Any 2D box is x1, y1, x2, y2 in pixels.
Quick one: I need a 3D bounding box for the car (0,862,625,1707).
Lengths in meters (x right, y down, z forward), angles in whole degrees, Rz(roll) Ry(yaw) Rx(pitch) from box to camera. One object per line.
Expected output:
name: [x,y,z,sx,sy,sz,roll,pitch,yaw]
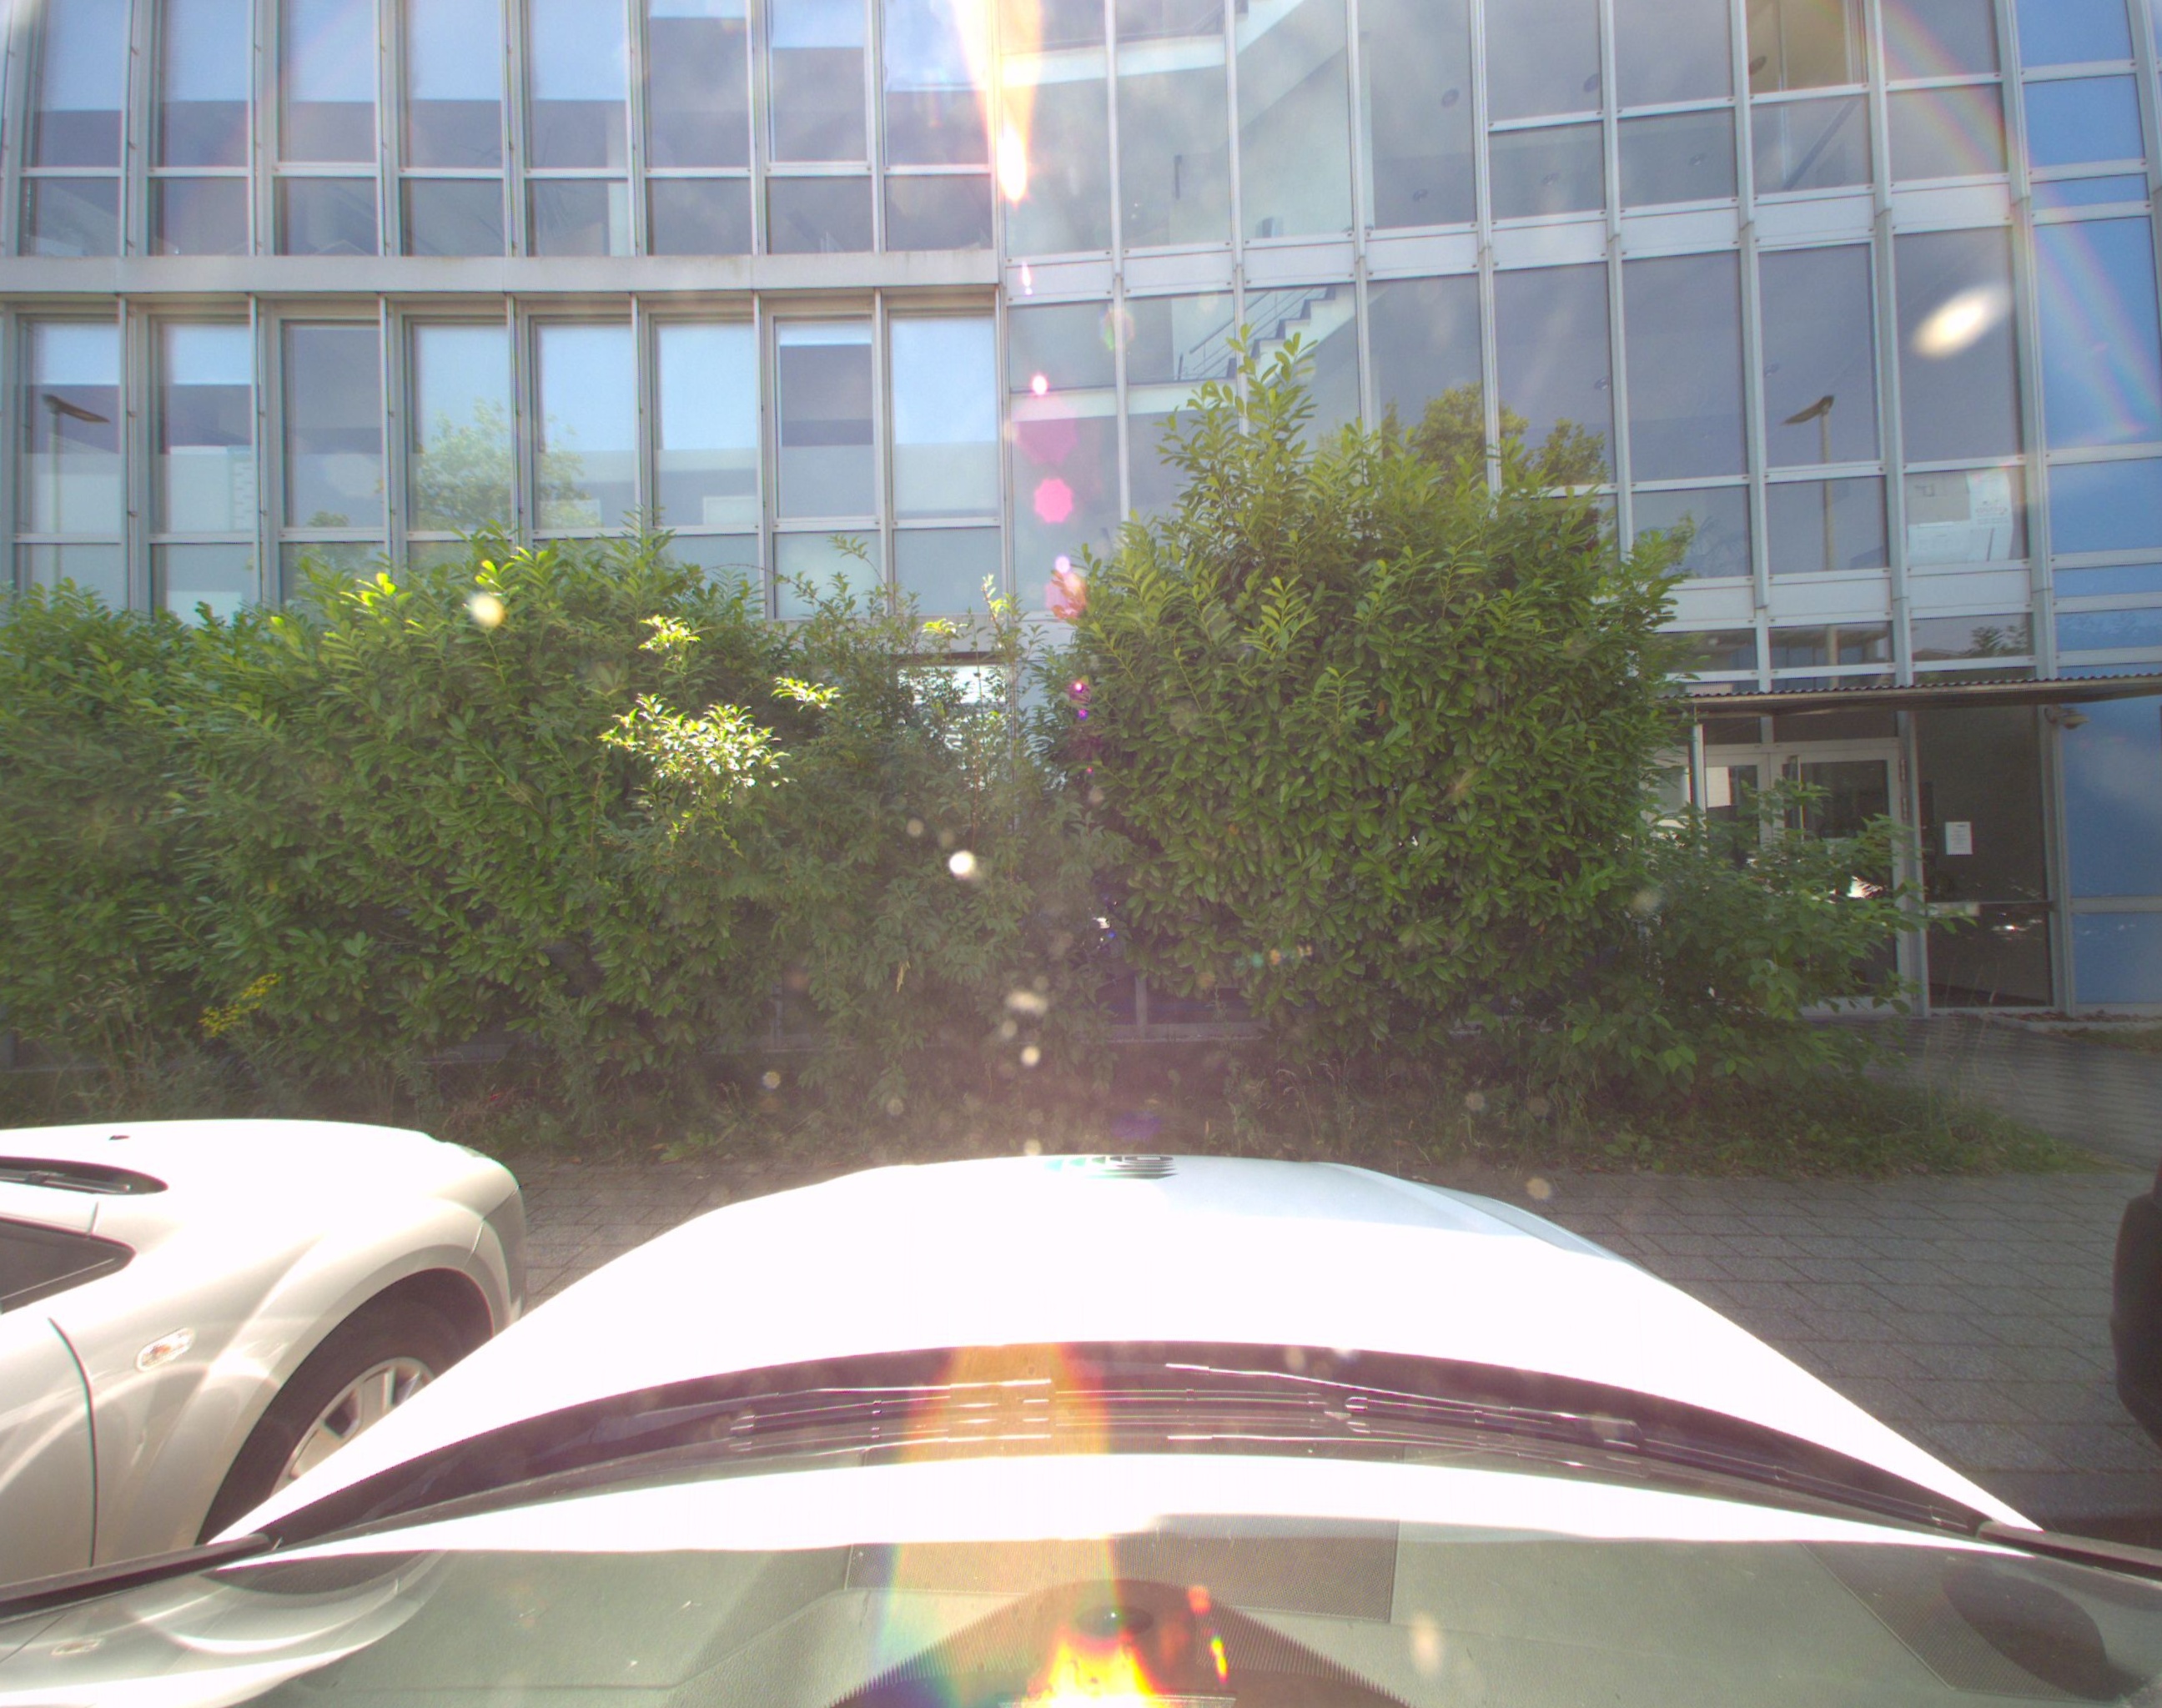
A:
car: [-2.208,0.768,0.154,1.713,1.479,4.349,-1,0,1]
